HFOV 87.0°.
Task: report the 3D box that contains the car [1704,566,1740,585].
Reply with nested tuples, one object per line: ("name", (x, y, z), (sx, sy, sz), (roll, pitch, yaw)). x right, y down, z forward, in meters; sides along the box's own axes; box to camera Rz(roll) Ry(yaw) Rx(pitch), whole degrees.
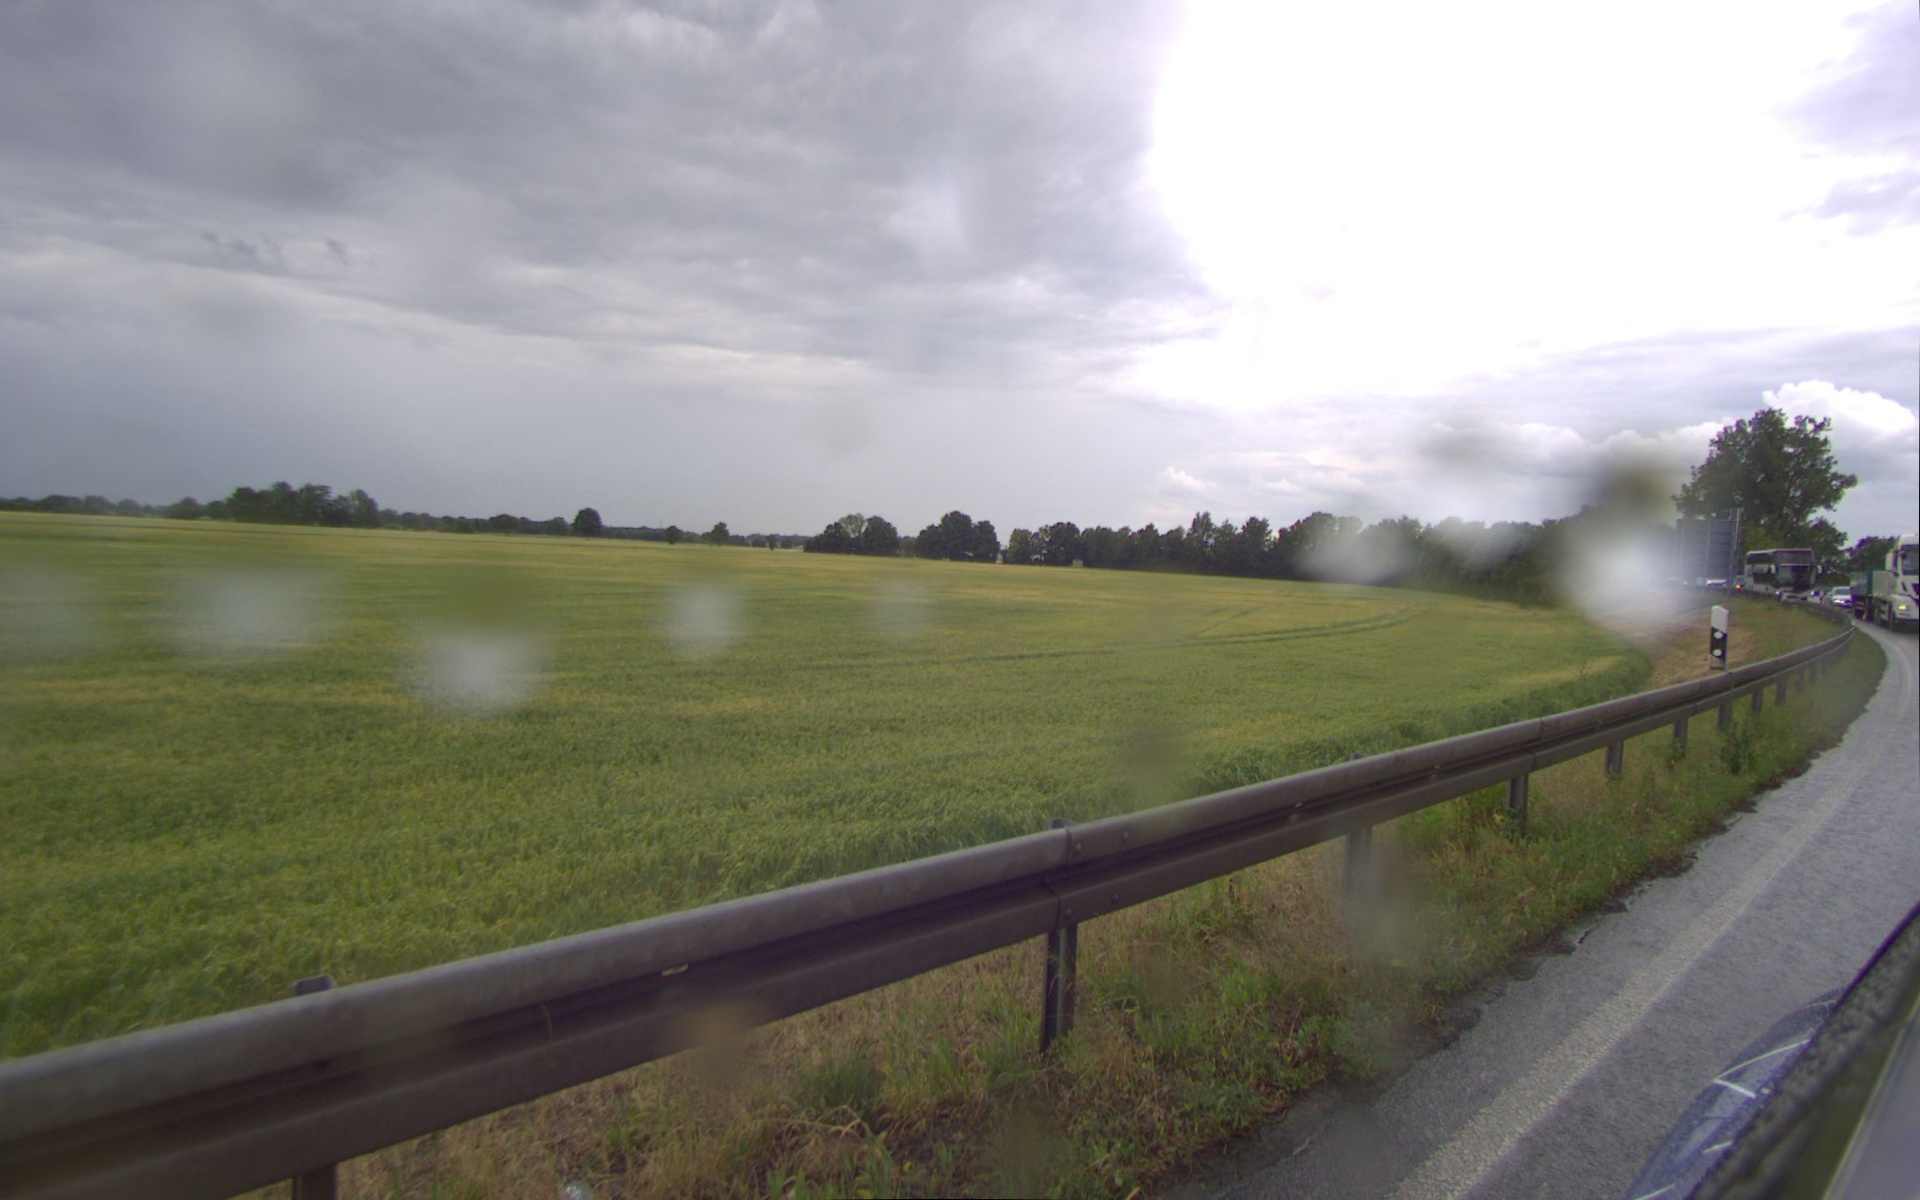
("car", (83.875, -2.677, 111.440), (1.978, 2.039, 5.293), (0, 1, 24))

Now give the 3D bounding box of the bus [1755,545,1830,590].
("bus", (67.288, -2.616, 82.132), (2.944, 3.353, 14.668), (0, 2, 32))

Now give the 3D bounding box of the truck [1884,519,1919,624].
("truck", (36.100, -1.046, 37.043), (2.971, 3.655, 5.995), (0, 1, 39))

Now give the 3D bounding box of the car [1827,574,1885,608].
("car", (52.532, -0.558, 59.443), (2.031, 1.866, 5.267), (0, 1, 36))

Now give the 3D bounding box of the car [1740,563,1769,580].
("car", (77.065, -2.712, 98.212), (1.801, 1.597, 3.955), (0, 1, 32))

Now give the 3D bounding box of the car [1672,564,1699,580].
("car", (93.313, -3.562, 130.213), (1.977, 2.039, 4.200), (0, 1, 23))

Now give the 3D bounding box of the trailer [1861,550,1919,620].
("trailer", (41.396, -0.685, 43.643), (2.971, 2.666, 15.463), (0, 1, 39))
